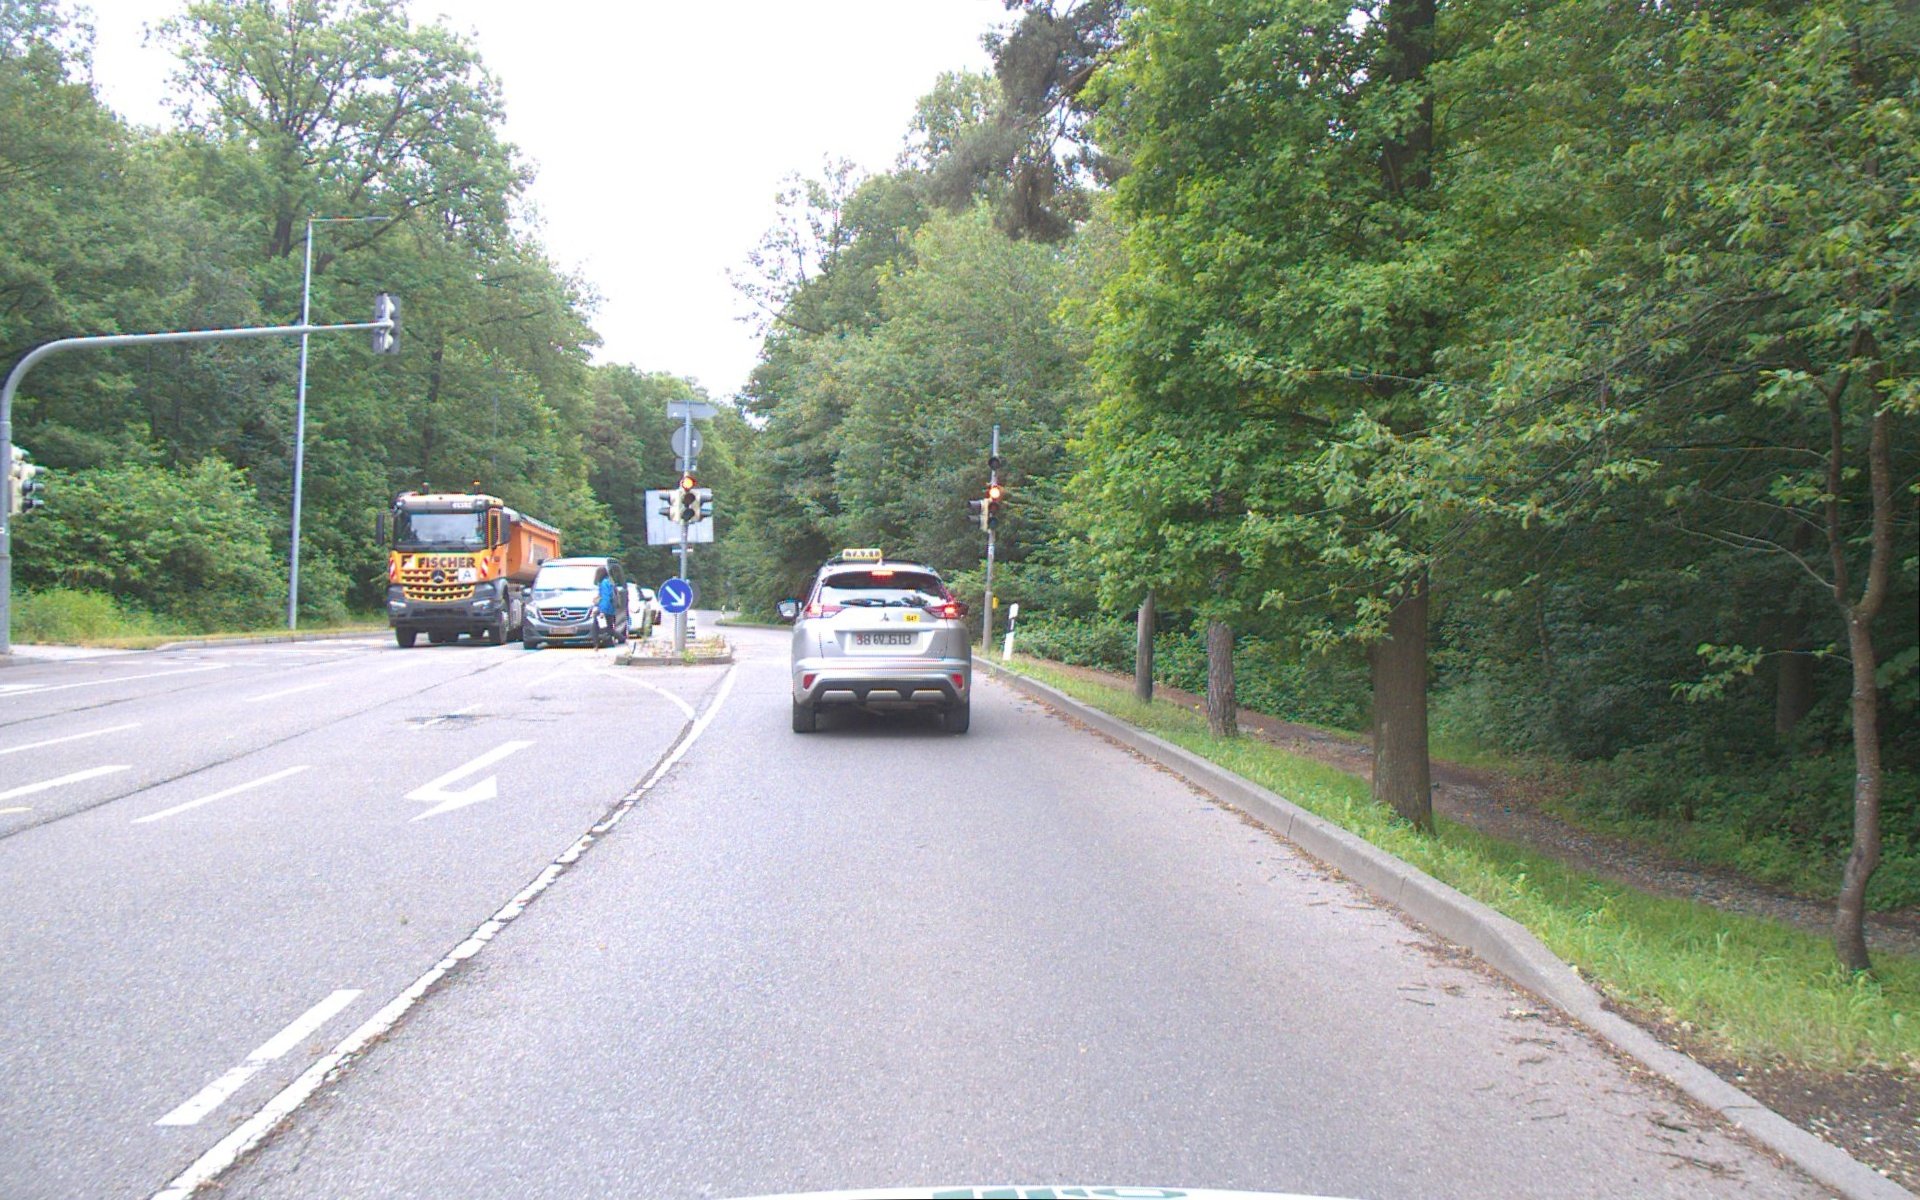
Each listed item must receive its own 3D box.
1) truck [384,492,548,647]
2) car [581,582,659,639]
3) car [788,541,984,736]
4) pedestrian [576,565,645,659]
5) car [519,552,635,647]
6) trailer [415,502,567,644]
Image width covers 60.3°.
[{"bbox_3d":[-11.647,-0.660,39.609,2.687,3.376,7.146,-1,0,-8],"label":"truck"},{"bbox_3d":[-8.980,0.246,43.930,1.581,1.344,3.718,-2,1,-5],"label":"car"},{"bbox_3d":[-0.825,0.343,17.410,1.810,1.811,3.997,1,1,-4],"label":"car"},{"bbox_3d":[-6.404,0.203,30.366,1.025,1.677,1.069,0,1,0],"label":"pedestrian"},{"bbox_3d":[-8.388,-0.010,36.610,1.955,1.927,4.832,-1,0,-7],"label":"car"},{"bbox_3d":[-12.230,-0.643,43.821,2.687,3.376,8.553,-1,0,-8],"label":"trailer"}]
